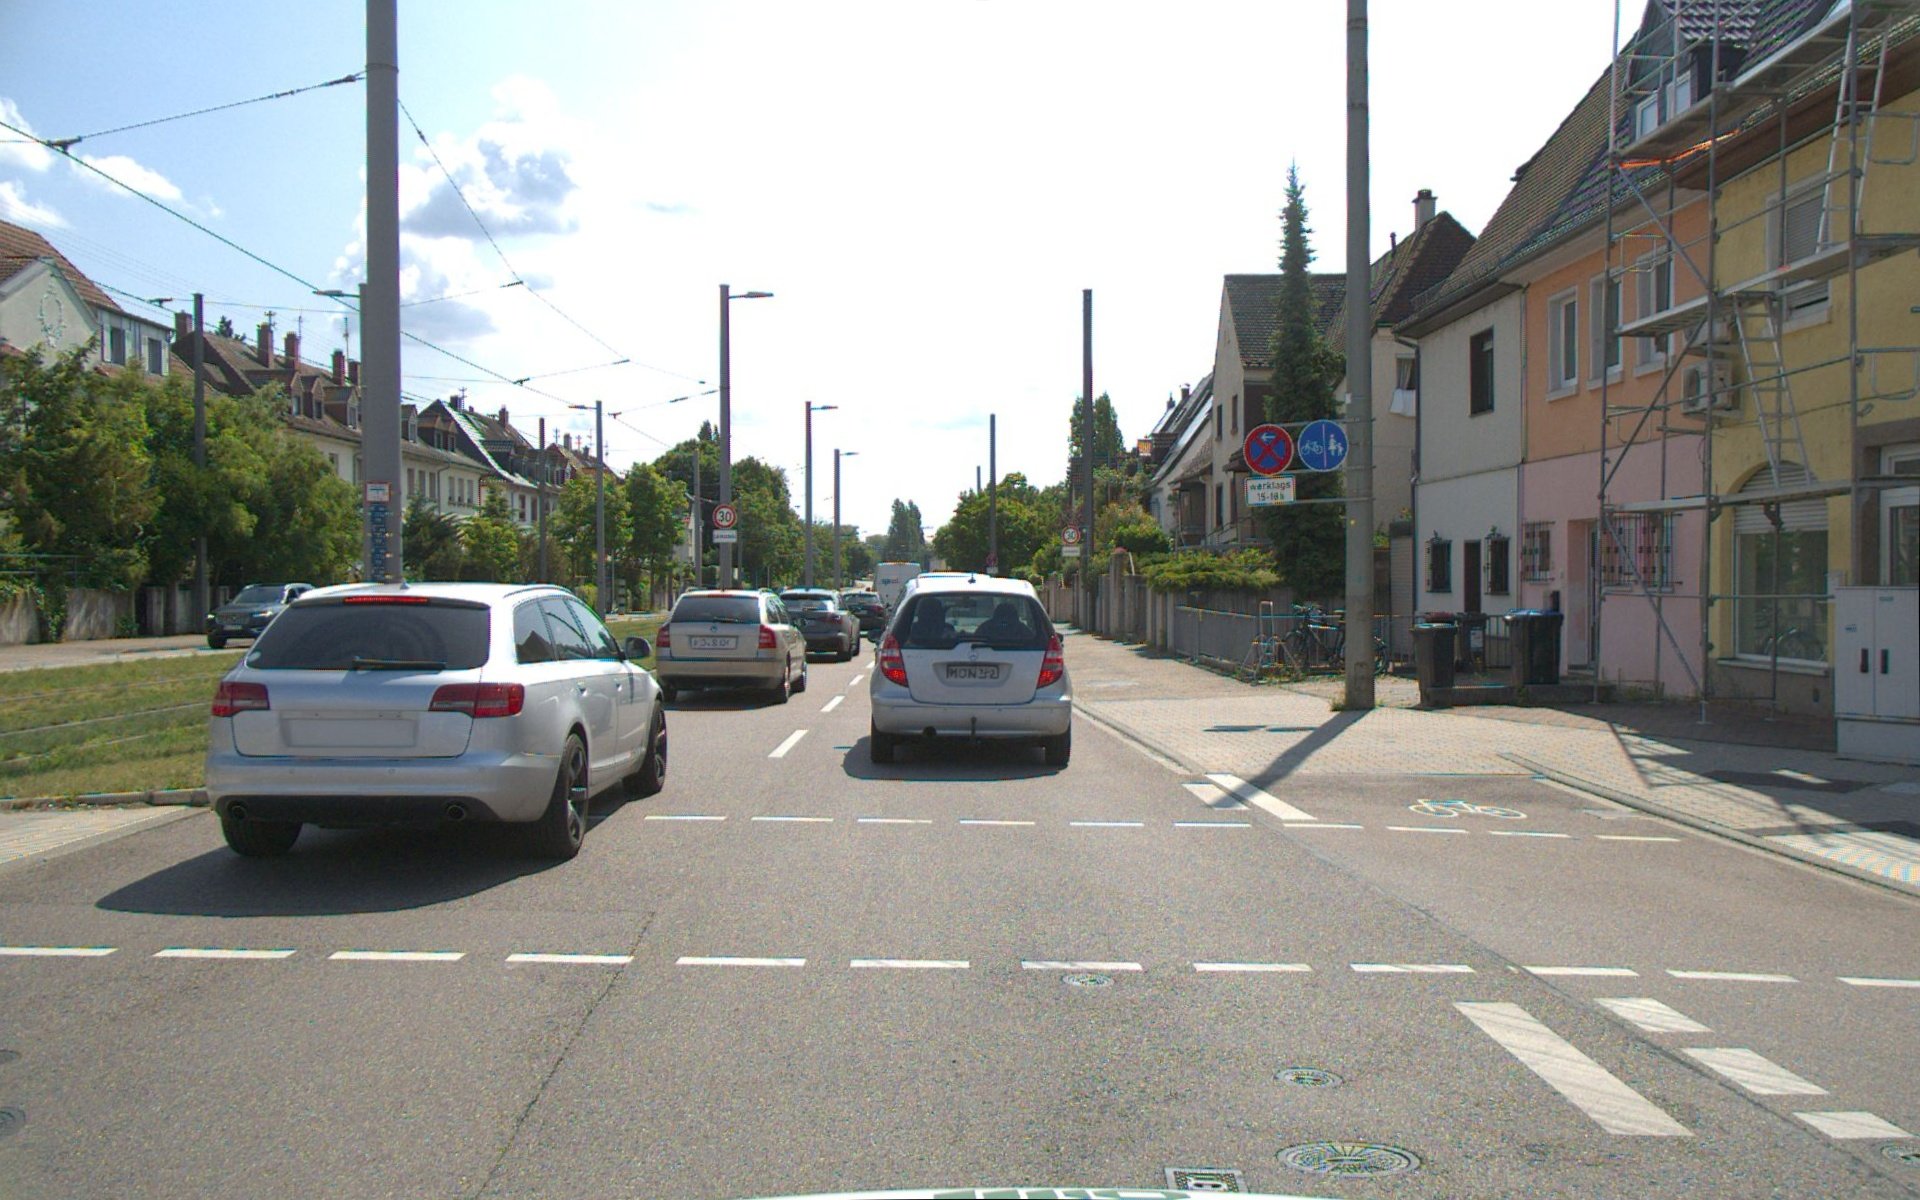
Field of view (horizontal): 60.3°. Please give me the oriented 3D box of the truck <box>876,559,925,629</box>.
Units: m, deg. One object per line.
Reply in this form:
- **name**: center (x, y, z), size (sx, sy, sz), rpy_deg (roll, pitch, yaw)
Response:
- **truck**: center (-2.387, -0.234, 65.636), size (1.815, 2.597, 5.852), rpy_deg (1, 0, -2)

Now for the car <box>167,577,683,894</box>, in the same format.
- **car**: center (-2.944, 0.618, 10.250), size (1.758, 1.497, 4.721), rpy_deg (1, 1, -2)

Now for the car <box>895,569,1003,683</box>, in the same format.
- **car**: center (-0.219, 0.404, 28.476), size (1.695, 1.793, 4.015), rpy_deg (1, 0, -1)

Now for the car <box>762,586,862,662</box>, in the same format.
- **car**: center (-3.149, 0.470, 35.993), size (1.878, 1.503, 4.561), rpy_deg (1, 0, -2)

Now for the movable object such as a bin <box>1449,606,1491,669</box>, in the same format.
- **movable object such as a bin**: center (7.971, 0.575, 25.860), size (0.458, 0.963, 0.558), rpy_deg (-1, 0, -1)

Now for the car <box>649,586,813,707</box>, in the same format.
- **car**: center (-3.043, 0.572, 22.711), size (1.696, 1.474, 4.122), rpy_deg (1, 0, -1)

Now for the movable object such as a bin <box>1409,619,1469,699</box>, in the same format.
- **movable object such as a bin**: center (5.772, 0.707, 19.946), size (0.501, 0.934, 0.741), rpy_deg (0, 0, 0)

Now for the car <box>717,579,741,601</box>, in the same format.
- **car**: center (-25.417, -1.131, 181.730), size (1.877, 2.371, 4.563), rpy_deg (1, 0, 1)

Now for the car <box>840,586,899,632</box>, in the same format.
- **car**: center (-2.950, 0.272, 54.434), size (1.815, 1.412, 4.512), rpy_deg (1, 0, -3)

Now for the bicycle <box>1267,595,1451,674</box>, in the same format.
- **bicycle**: center (6.106, 0.517, 25.387), size (2.608, 1.124, 0.786), rpy_deg (-1, 0, -2)

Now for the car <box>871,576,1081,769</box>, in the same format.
- **car**: center (0.054, 0.583, 15.522), size (1.695, 1.543, 4.015), rpy_deg (1, 0, -2)

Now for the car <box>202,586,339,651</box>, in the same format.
- **car**: center (-19.881, 0.496, 47.939), size (1.974, 1.741, 4.935), rpy_deg (-1, 0, -2)

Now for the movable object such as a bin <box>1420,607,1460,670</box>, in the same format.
- **movable object such as a bin**: center (7.498, 0.599, 25.856), size (0.458, 0.963, 0.558), rpy_deg (0, 0, -1)

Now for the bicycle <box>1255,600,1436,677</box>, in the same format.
- **bicycle**: center (6.071, 0.602, 26.130), size (2.671, 1.139, 0.691), rpy_deg (-1, 0, -2)

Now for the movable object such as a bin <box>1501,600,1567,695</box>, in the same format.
- **movable object such as a bin**: center (6.958, 0.569, 20.072), size (0.501, 1.124, 0.855), rpy_deg (0, 0, 0)

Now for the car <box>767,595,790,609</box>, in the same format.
- **car**: center (-20.010, 0.176, 182.674), size (1.877, 1.503, 4.563), rpy_deg (1, 0, 1)
